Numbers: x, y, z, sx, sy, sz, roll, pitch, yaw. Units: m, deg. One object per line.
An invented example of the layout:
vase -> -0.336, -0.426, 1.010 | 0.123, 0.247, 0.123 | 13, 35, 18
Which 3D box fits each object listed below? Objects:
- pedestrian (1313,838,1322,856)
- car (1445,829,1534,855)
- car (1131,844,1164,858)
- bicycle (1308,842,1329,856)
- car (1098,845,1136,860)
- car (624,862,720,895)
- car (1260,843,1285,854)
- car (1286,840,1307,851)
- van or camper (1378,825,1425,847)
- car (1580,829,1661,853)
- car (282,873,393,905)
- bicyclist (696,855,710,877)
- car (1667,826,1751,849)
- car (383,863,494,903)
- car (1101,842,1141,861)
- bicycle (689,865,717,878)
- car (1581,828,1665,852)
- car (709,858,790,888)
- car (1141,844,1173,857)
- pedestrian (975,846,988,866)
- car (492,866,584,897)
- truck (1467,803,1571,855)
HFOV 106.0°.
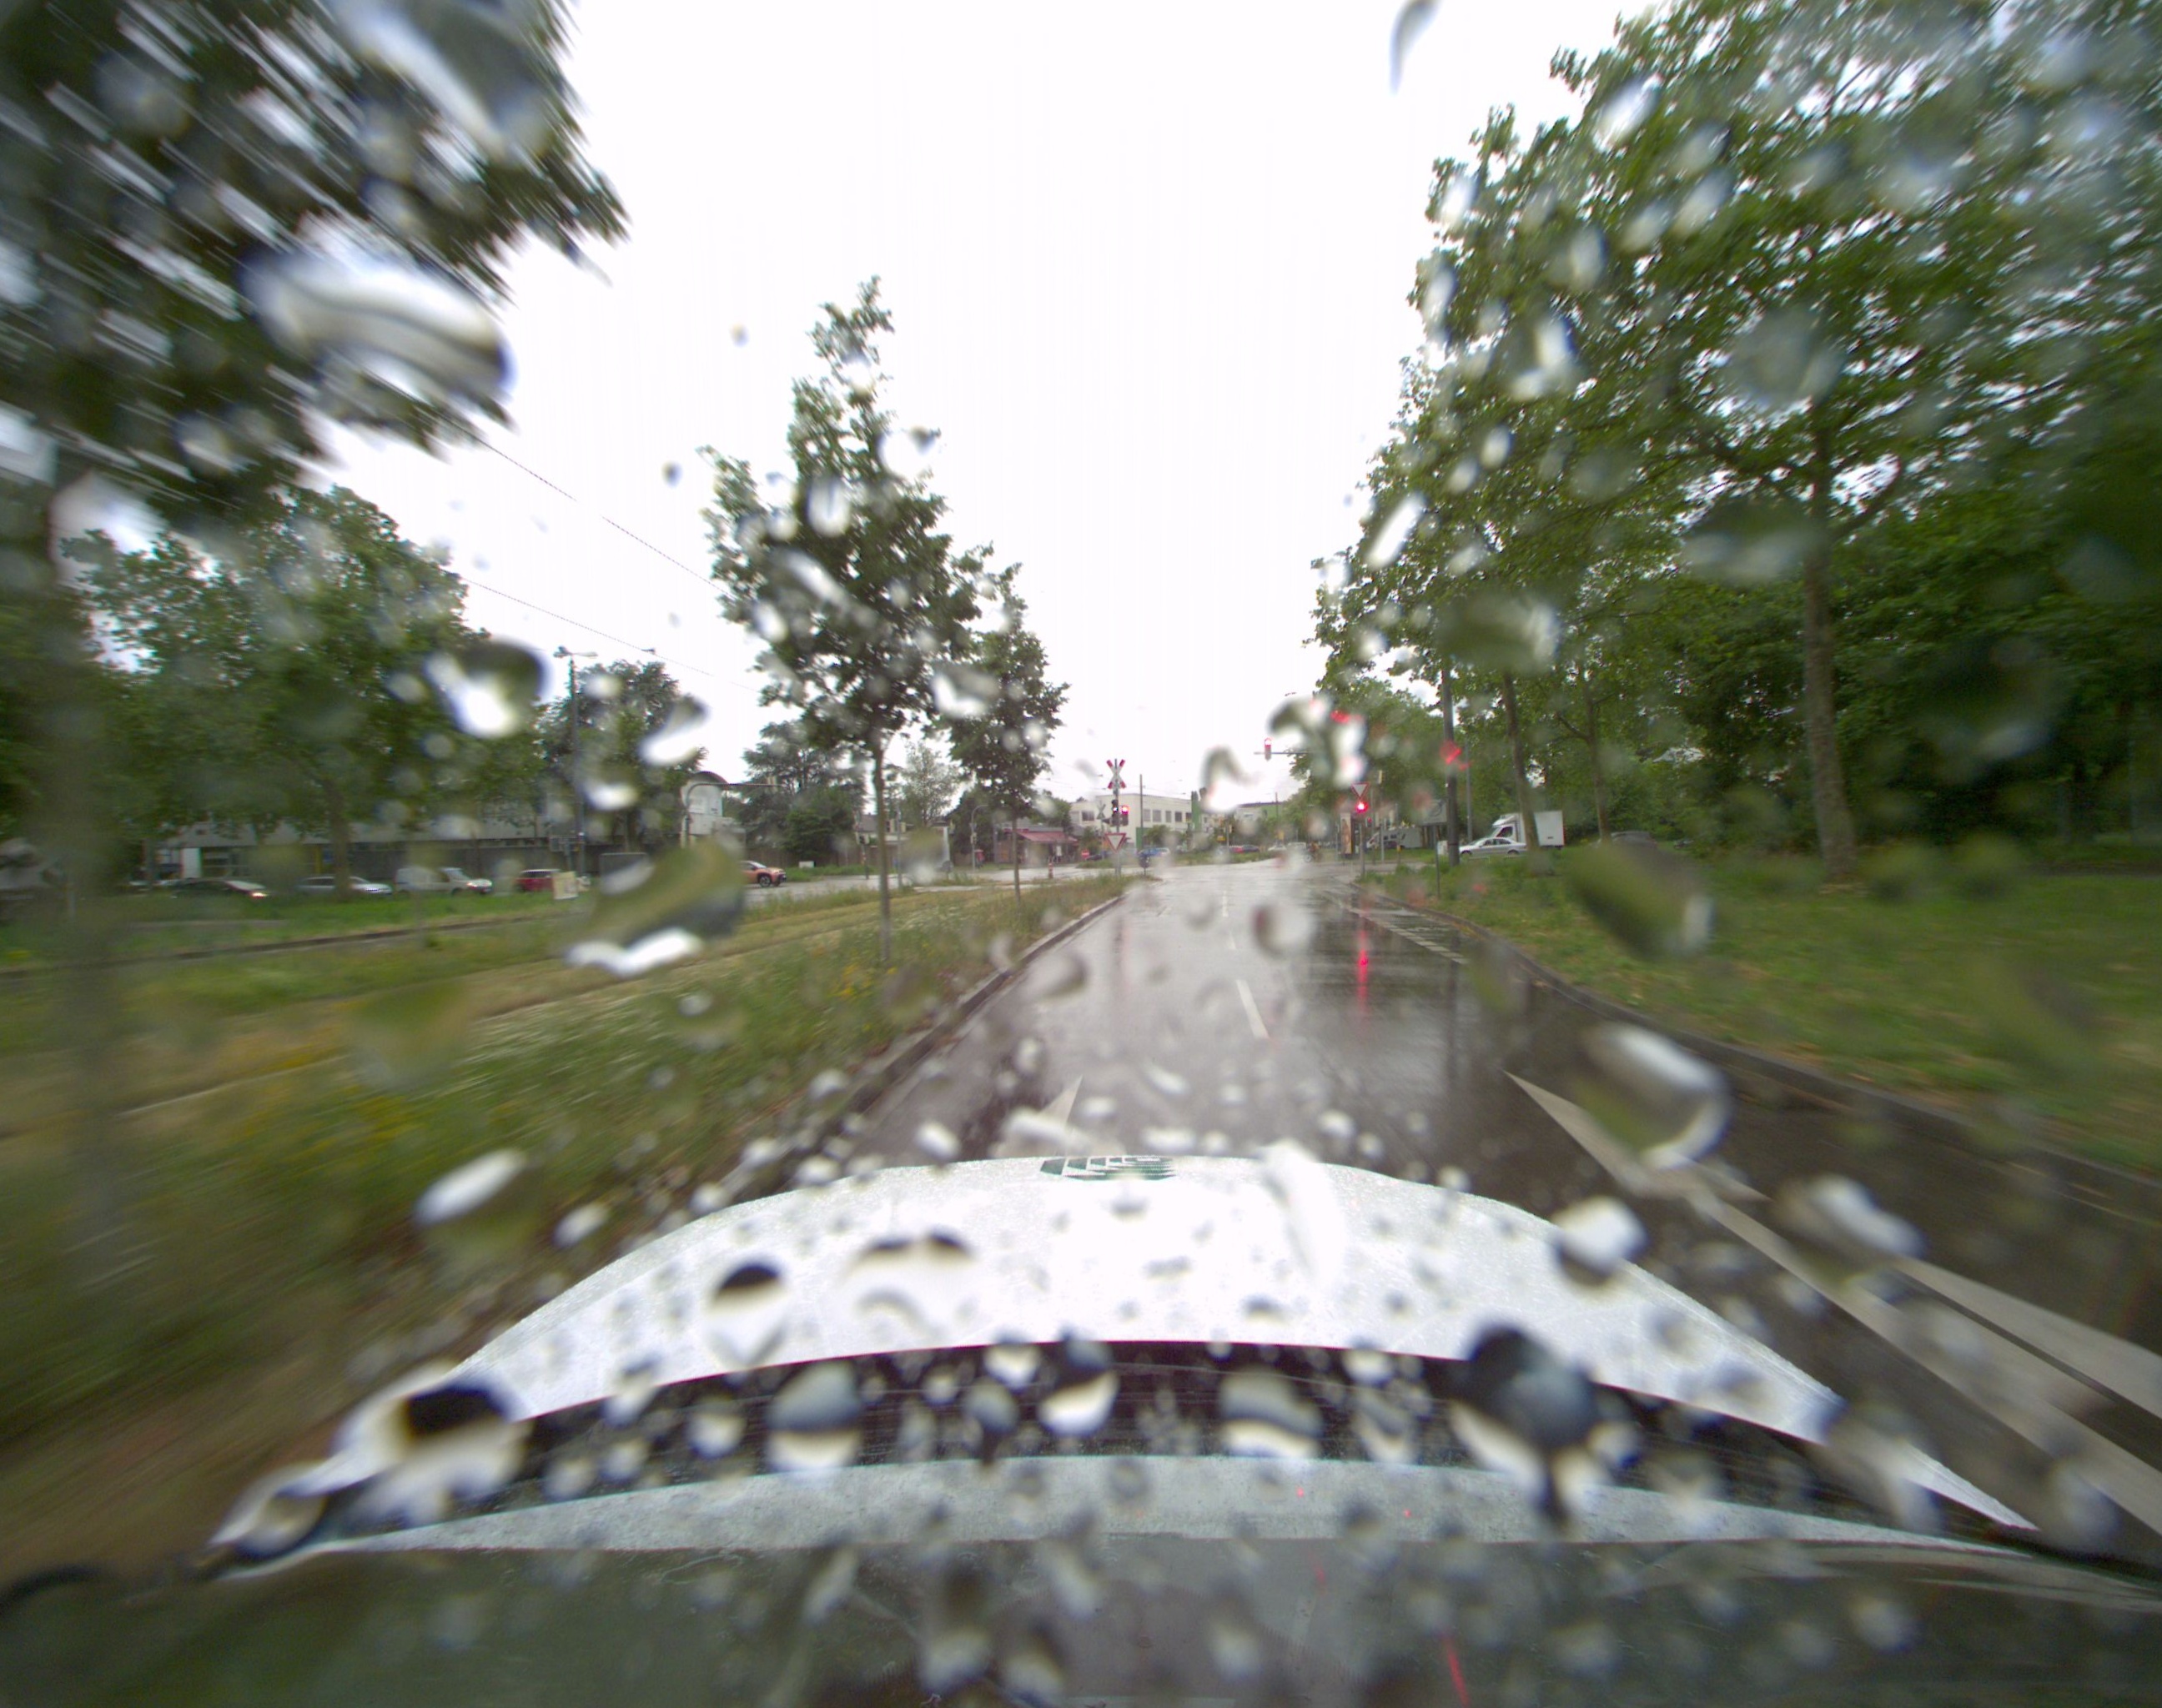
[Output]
pedestrian -> 19.025, -0.551, 65.503 | 0.573, 1.475, 0.500 | -2, 0, 2
car -> 24.450, -0.700, 48.873 | 4.490, 1.390, 1.647 | -2, 0, 5
car -> 7.746, -0.322, 95.135 | 3.735, 1.442, 1.764 | -2, 0, 3
bicycle -> 19.086, -0.398, 65.505 | 1.555, 1.101, 0.500 | -2, 0, 2
car -> 3.864, -0.123, 87.204 | 3.725, 1.442, 1.768 | -2, 0, 12
car -> -21.202, 1.258, 42.331 | 4.054, 1.499, 1.651 | -2, 0, -1
car -> 34.889, -0.946, 148.330 | 4.116, 1.860, 1.676 | -2, 0, 4
car -> 43.667, -1.696, 165.104 | 4.104, 1.975, 1.680 | -2, 0, 15
van or camper -> 39.280, -2.171, 99.930 | 5.172, 2.697, 2.257 | 0, 1, 27
car -> 36.367, -0.864, 54.952 | 4.177, 1.422, 1.769 | -2, 0, 8
car -> -40.779, 1.905, 44.734 | 4.346, 1.455, 1.650 | -2, 0, -3
bicyclist -> -30.027, 0.933, 64.724 | 0.680, 1.683, 0.643 | -2, 0, 5
car -> 41.899, -1.080, 54.383 | 4.099, 1.422, 1.769 | -2, 0, 7
car -> -33.042, 1.481, 41.974 | 4.200, 1.796, 1.650 | -2, 1, -4
car -> 4.471, -0.299, 90.618 | 4.104, 1.860, 1.680 | -2, 0, 15
bicycle -> -30.034, 1.366, 64.726 | 1.949, 0.966, 0.643 | -2, 0, 5
car -> 33.872, -0.859, 50.944 | 4.090, 1.390, 1.647 | -2, 0, 5
car -> -18.714, 1.071, 46.091 | 3.807, 1.499, 1.651 | -2, 0, -1
car -> 9.128, -0.406, 98.253 | 3.735, 1.442, 1.764 | -2, 0, 3
pedestrian -> -8.847, 0.177, 72.271 | 0.806, 1.763, 0.899 | -2, 0, -35
car -> -30.257, 1.508, 45.465 | 3.903, 1.498, 1.649 | -2, 1, -7
truck -> 27.787, -1.557, 51.779 | 5.441, 3.058, 1.984 | -2, 0, 5
